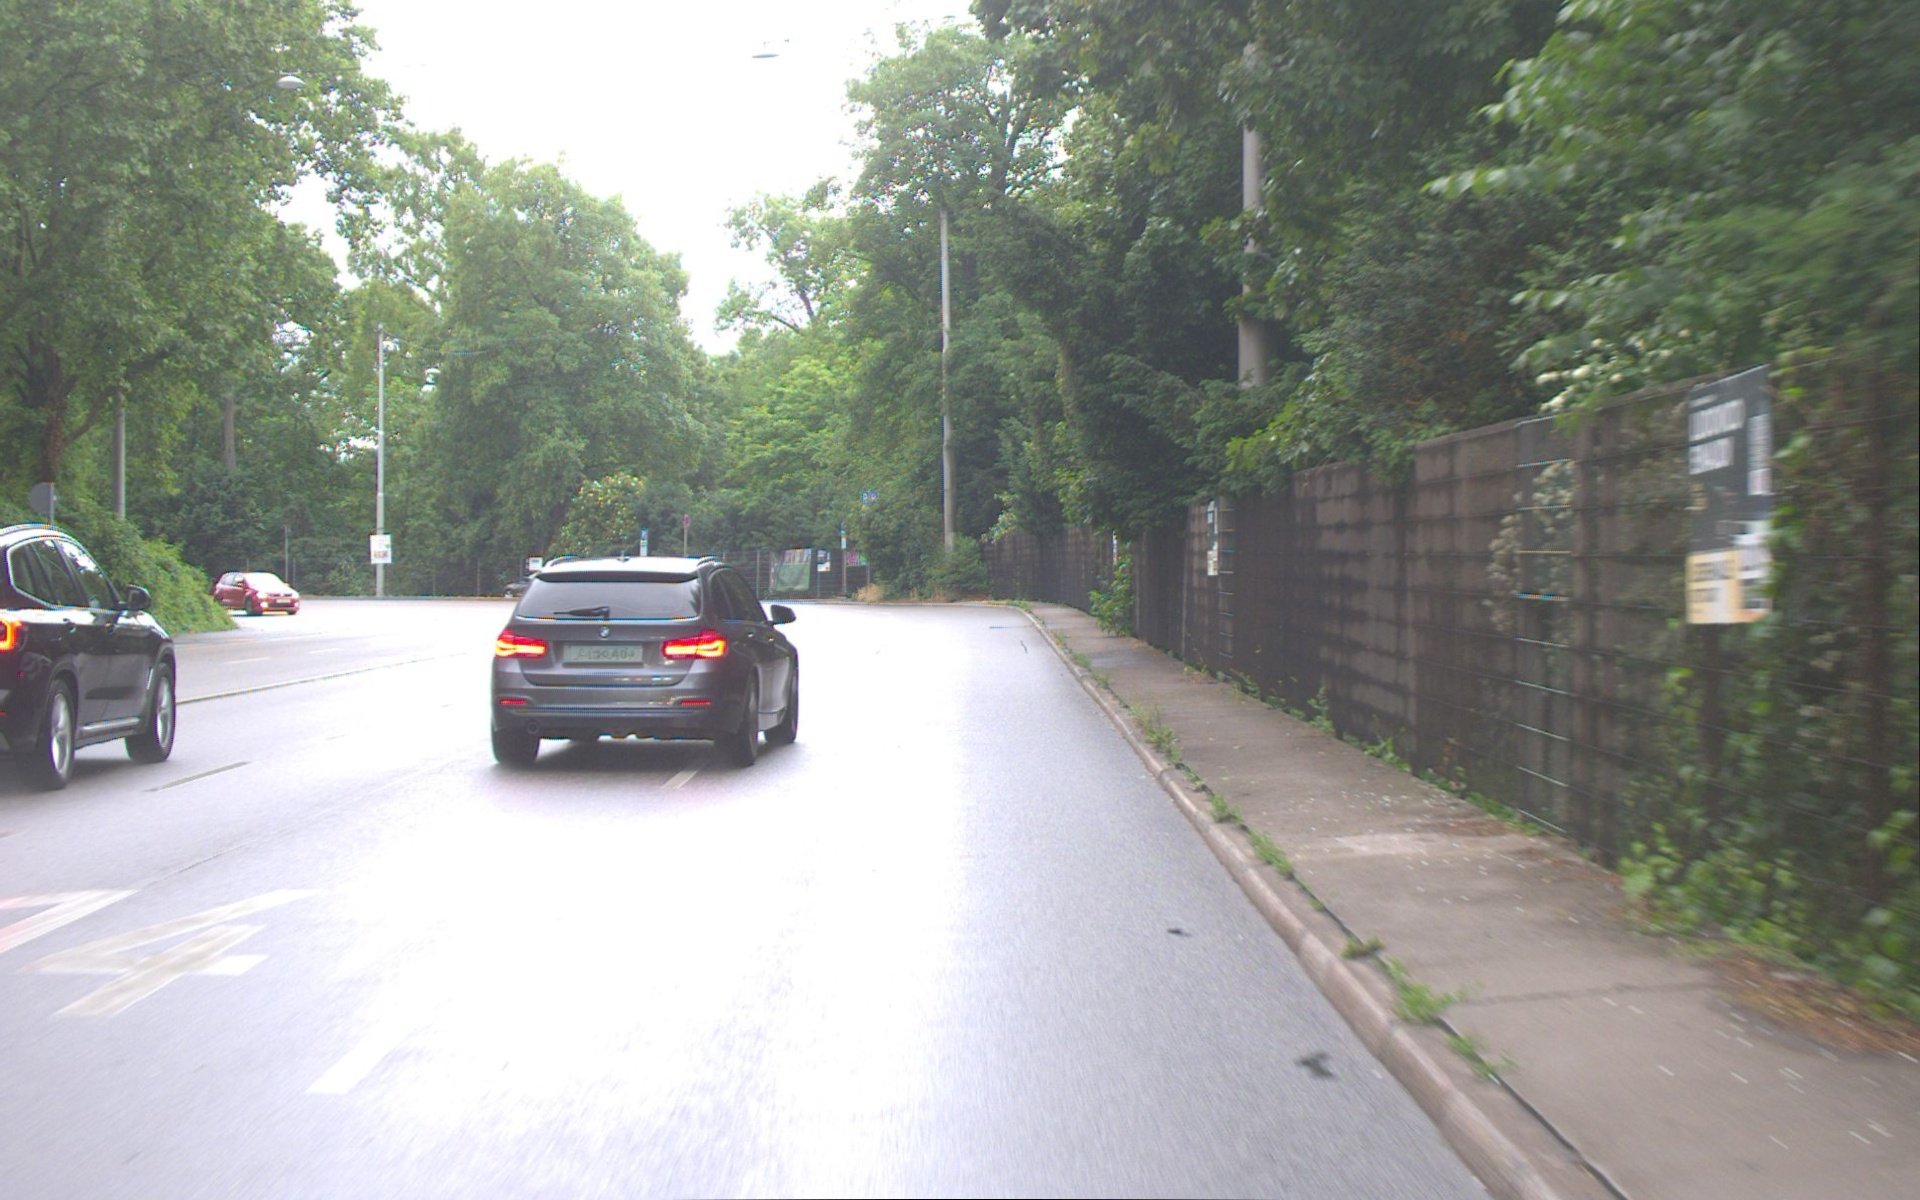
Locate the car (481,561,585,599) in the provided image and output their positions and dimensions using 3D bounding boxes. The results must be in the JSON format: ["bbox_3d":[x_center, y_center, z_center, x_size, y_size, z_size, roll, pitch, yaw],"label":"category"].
[{"bbox_3d":[-17.164,-0.812,137.972,4.368,1.422,1.688,1,-2,43],"label":"car"}]

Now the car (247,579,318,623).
[{"bbox_3d":[-22.685,0.023,115.209,1.580,1.409,3.962,-1,1,0],"label":"car"}]

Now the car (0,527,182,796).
[{"bbox_3d":[-6.417,0.323,22.386,1.757,1.580,4.413,1,1,-1],"label":"car"}]

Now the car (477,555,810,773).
[{"bbox_3d":[-2.189,0.405,24.922,1.758,1.428,4.412,-1,0,3],"label":"car"}]
